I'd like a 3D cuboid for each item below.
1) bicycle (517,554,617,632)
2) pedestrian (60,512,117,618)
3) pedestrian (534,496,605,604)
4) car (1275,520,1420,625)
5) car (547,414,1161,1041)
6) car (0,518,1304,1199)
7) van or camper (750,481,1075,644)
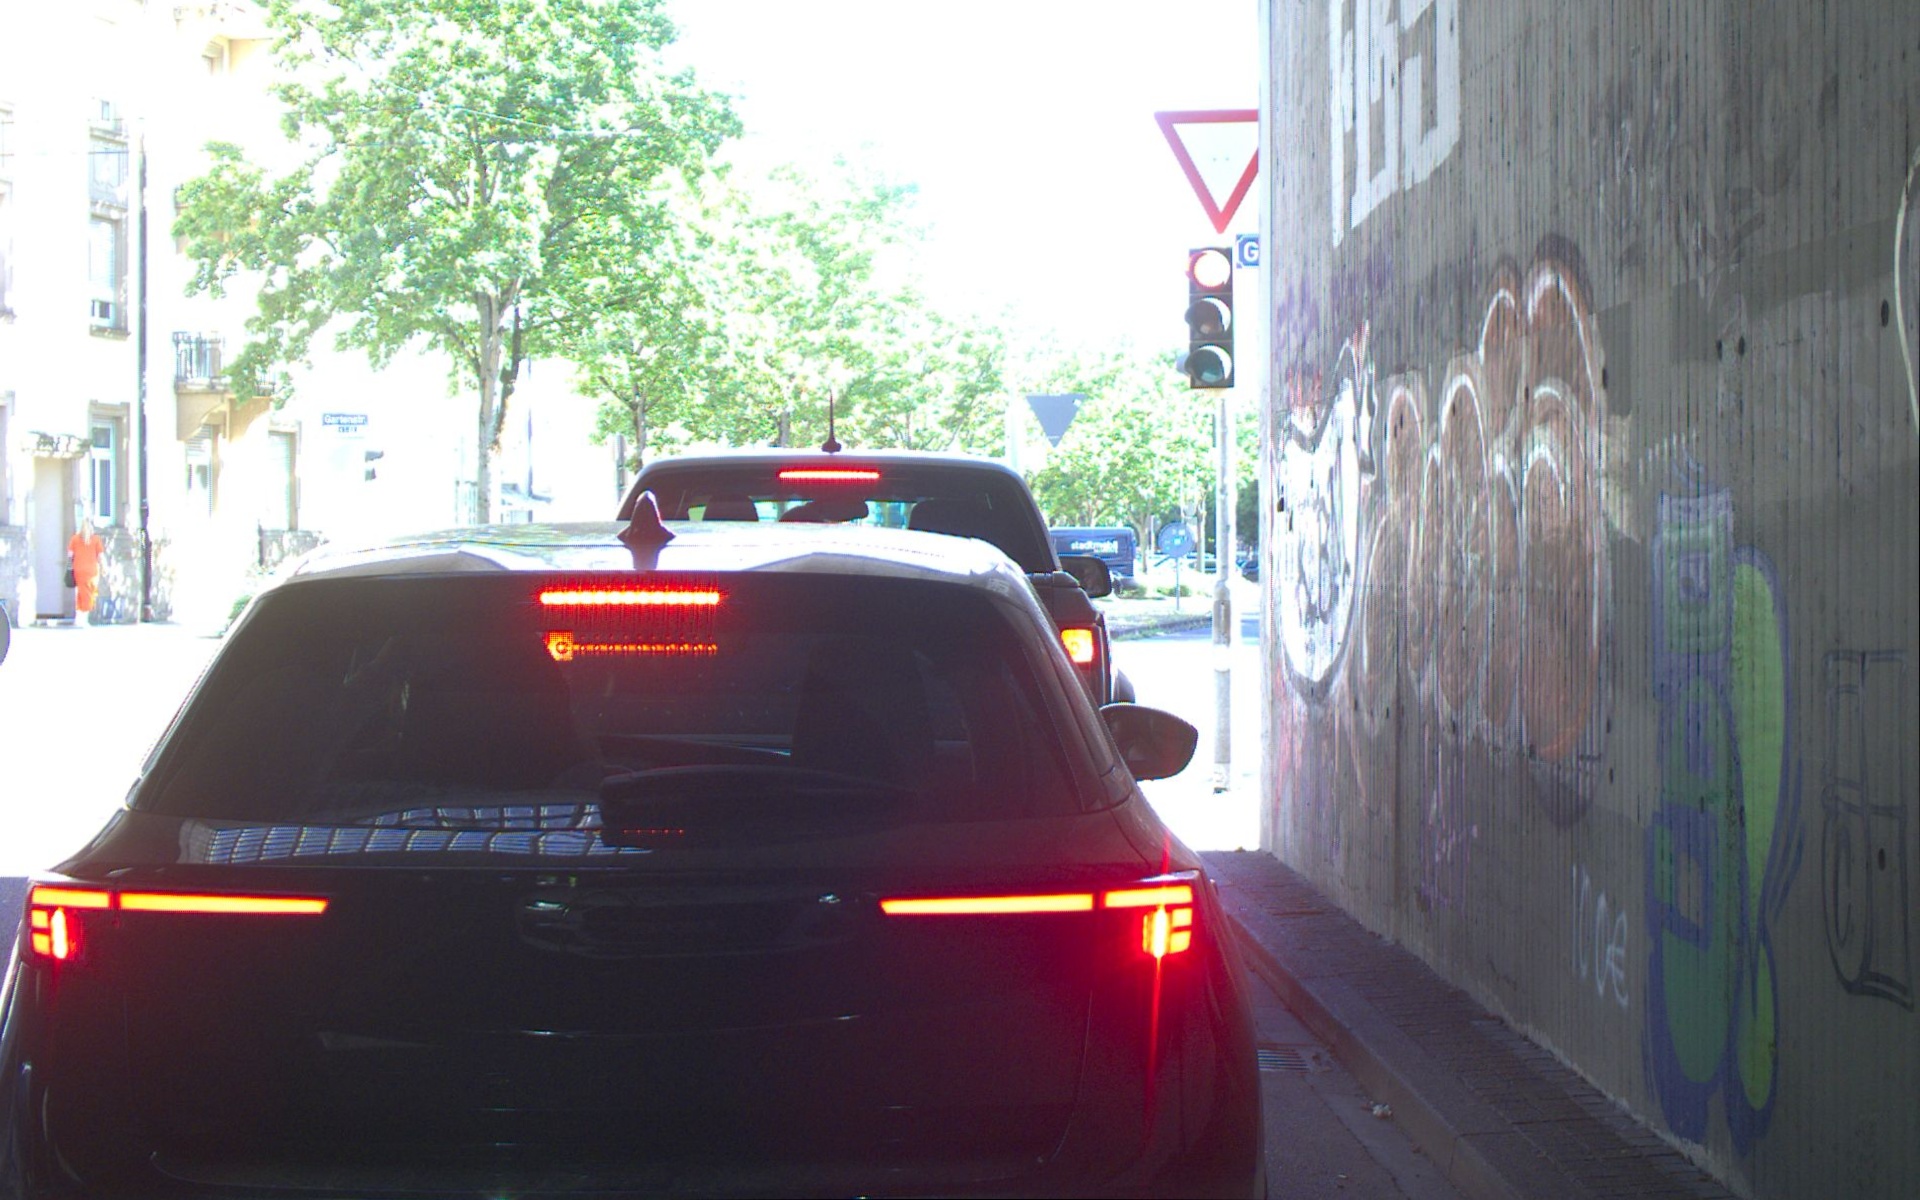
[{"bbox_3d":[-5.865,-0.112,51.360,0.737,1.126,2.025,0,1,17],"label":"bicycle"},{"bbox_3d":[-14.145,-0.571,55.791,0.623,1.699,0.723,1,0,11],"label":"pedestrian"},{"bbox_3d":[-5.839,-0.745,51.434,0.736,1.579,0.889,1,0,15],"label":"pedestrian"},{"bbox_3d":[5.985,-0.447,52.716,1.994,1.529,4.733,0,1,9],"label":"car"},{"bbox_3d":[-0.329,0.339,12.103,1.786,1.827,3.961,1,1,0],"label":"car"},{"bbox_3d":[-0.481,0.620,6.171,1.753,1.493,4.000,1,1,0],"label":"car"},{"bbox_3d":[-0.570,-0.474,43.599,3.878,2.007,2.000,0,1,7],"label":"van or camper"}]
